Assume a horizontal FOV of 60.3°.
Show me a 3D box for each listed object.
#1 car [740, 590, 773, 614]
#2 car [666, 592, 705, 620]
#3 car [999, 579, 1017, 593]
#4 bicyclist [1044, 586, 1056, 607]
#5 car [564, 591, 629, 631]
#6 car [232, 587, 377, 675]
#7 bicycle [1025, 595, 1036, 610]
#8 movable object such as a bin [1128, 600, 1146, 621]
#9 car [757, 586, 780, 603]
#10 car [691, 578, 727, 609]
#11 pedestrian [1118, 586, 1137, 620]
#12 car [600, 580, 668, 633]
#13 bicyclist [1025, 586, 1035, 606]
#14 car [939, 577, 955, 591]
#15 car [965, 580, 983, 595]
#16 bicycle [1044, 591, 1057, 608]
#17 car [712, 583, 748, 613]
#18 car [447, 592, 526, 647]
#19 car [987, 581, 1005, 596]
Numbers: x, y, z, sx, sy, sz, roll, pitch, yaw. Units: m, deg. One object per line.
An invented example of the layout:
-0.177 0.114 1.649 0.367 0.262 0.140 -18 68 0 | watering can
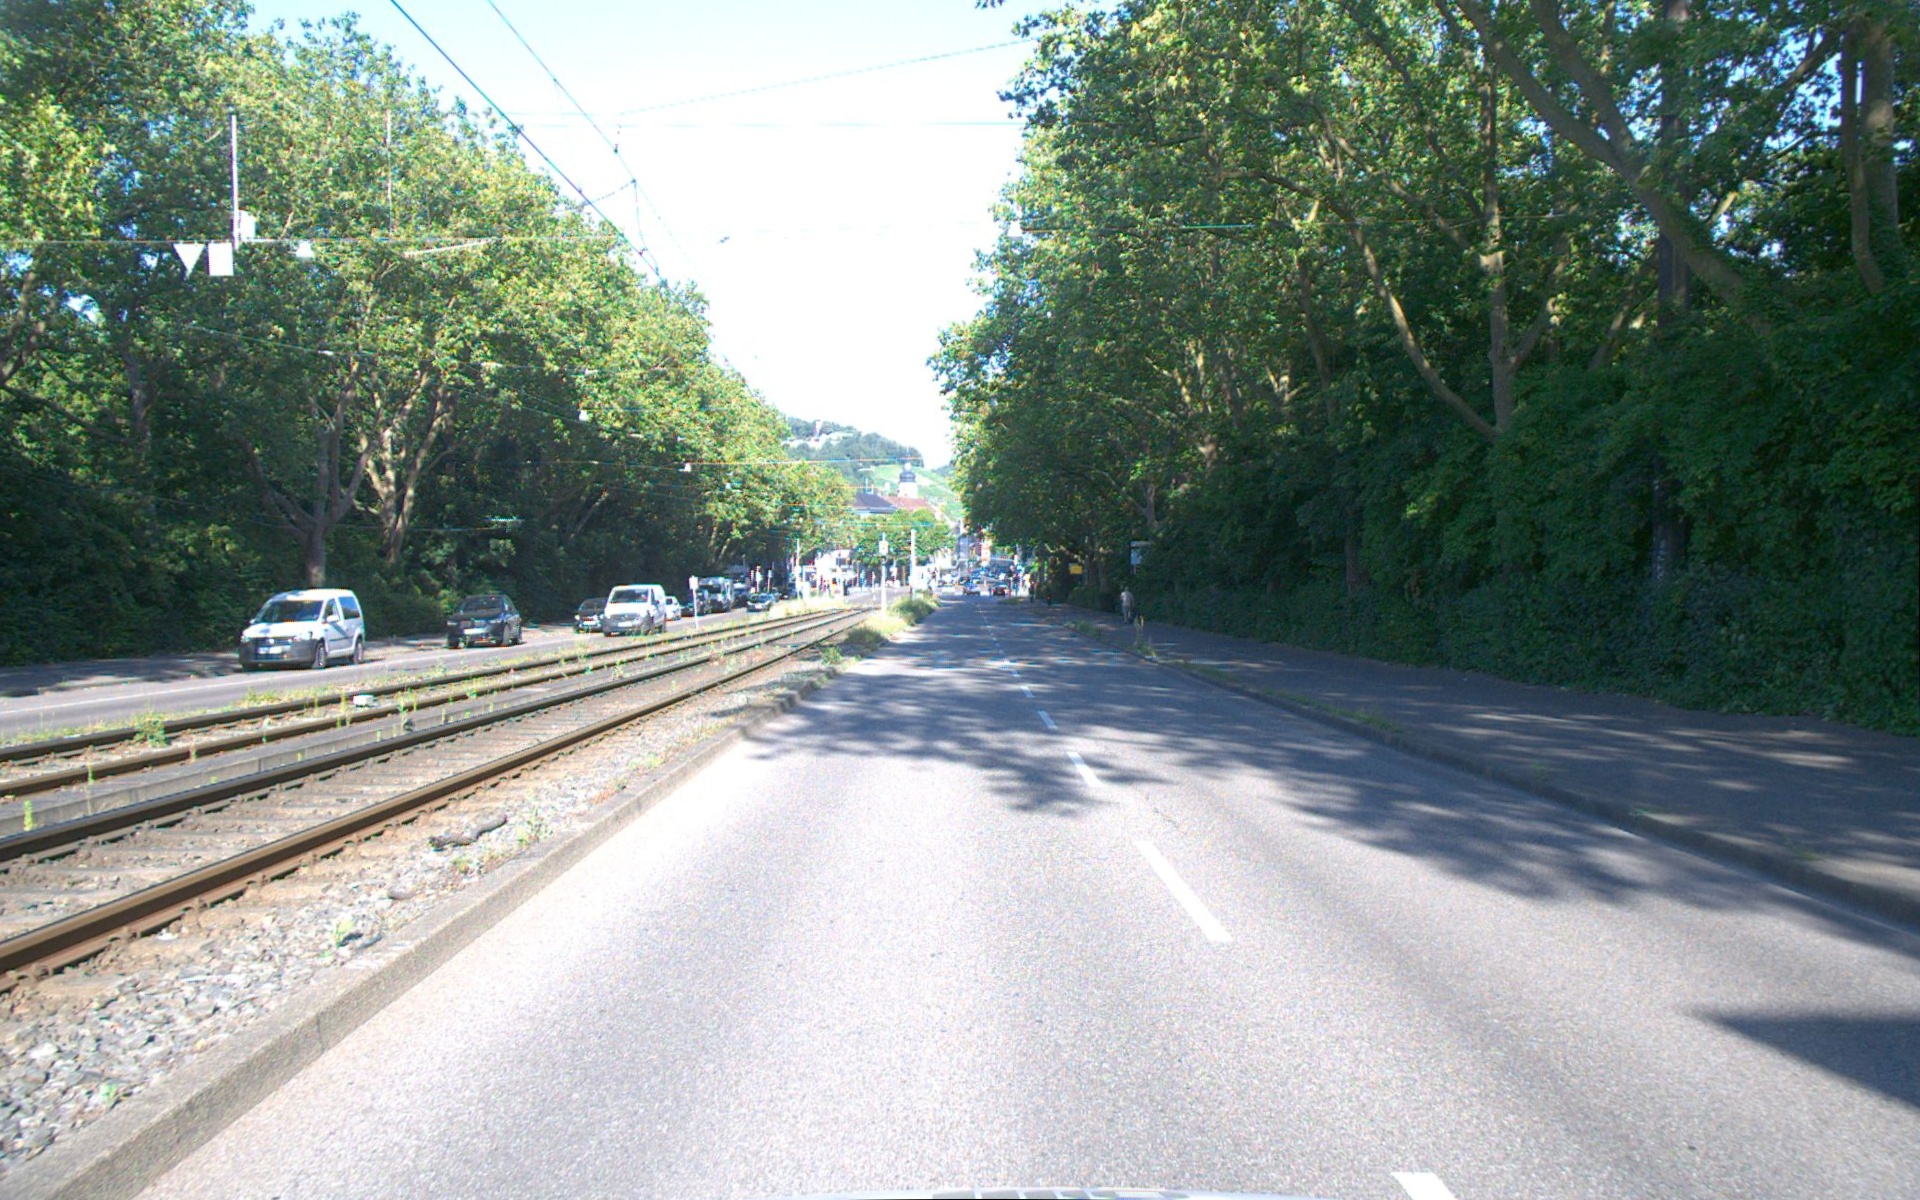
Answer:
-15.120 0.114 123.138 1.953 1.726 4.743 -1 0 -2 | car
-18.188 0.383 109.709 1.953 1.726 4.743 -1 0 -2 | car
6.917 -1.984 238.460 2.345 2.034 5.305 -1 0 0 | car
7.264 -0.299 133.516 0.869 1.667 1.164 -1 0 0 | bicyclist
-16.197 0.466 73.866 1.953 1.726 4.743 -1 0 -2 | car
-15.304 0.670 38.890 1.707 1.773 4.512 -4 1 -3 | car
6.606 0.238 155.413 0.869 1.344 2.639 -1 0 0 | bicycle
8.062 0.479 75.387 0.787 0.964 0.656 -1 0 3 | movable object such as a bin
-19.772 -0.573 171.236 1.953 1.726 4.743 -1 0 -2 | car
-18.829 -0.500 124.134 1.953 2.201 5.812 -1 0 -2 | car
7.723 0.125 76.213 0.787 1.573 0.814 -1 0 3 | pedestrian
-12.648 0.247 64.481 1.955 1.876 5.296 -3 0 -5 | car
6.611 -0.385 155.322 0.869 1.805 1.222 -1 0 0 | bicyclist
-1.929 -2.287 243.359 2.345 2.034 5.305 -1 0 0 | car
1.968 -1.743 233.762 2.345 2.034 5.305 -1 0 0 | car
7.268 -0.058 133.419 0.869 1.344 2.639 -1 0 0 | bicycle
-20.397 -0.213 146.732 2.345 2.567 5.899 -1 0 0 | car
-15.431 0.595 54.085 1.708 1.665 3.996 -1 1 -5 | car
4.960 -1.563 229.164 2.345 2.034 5.305 -1 0 0 | car
